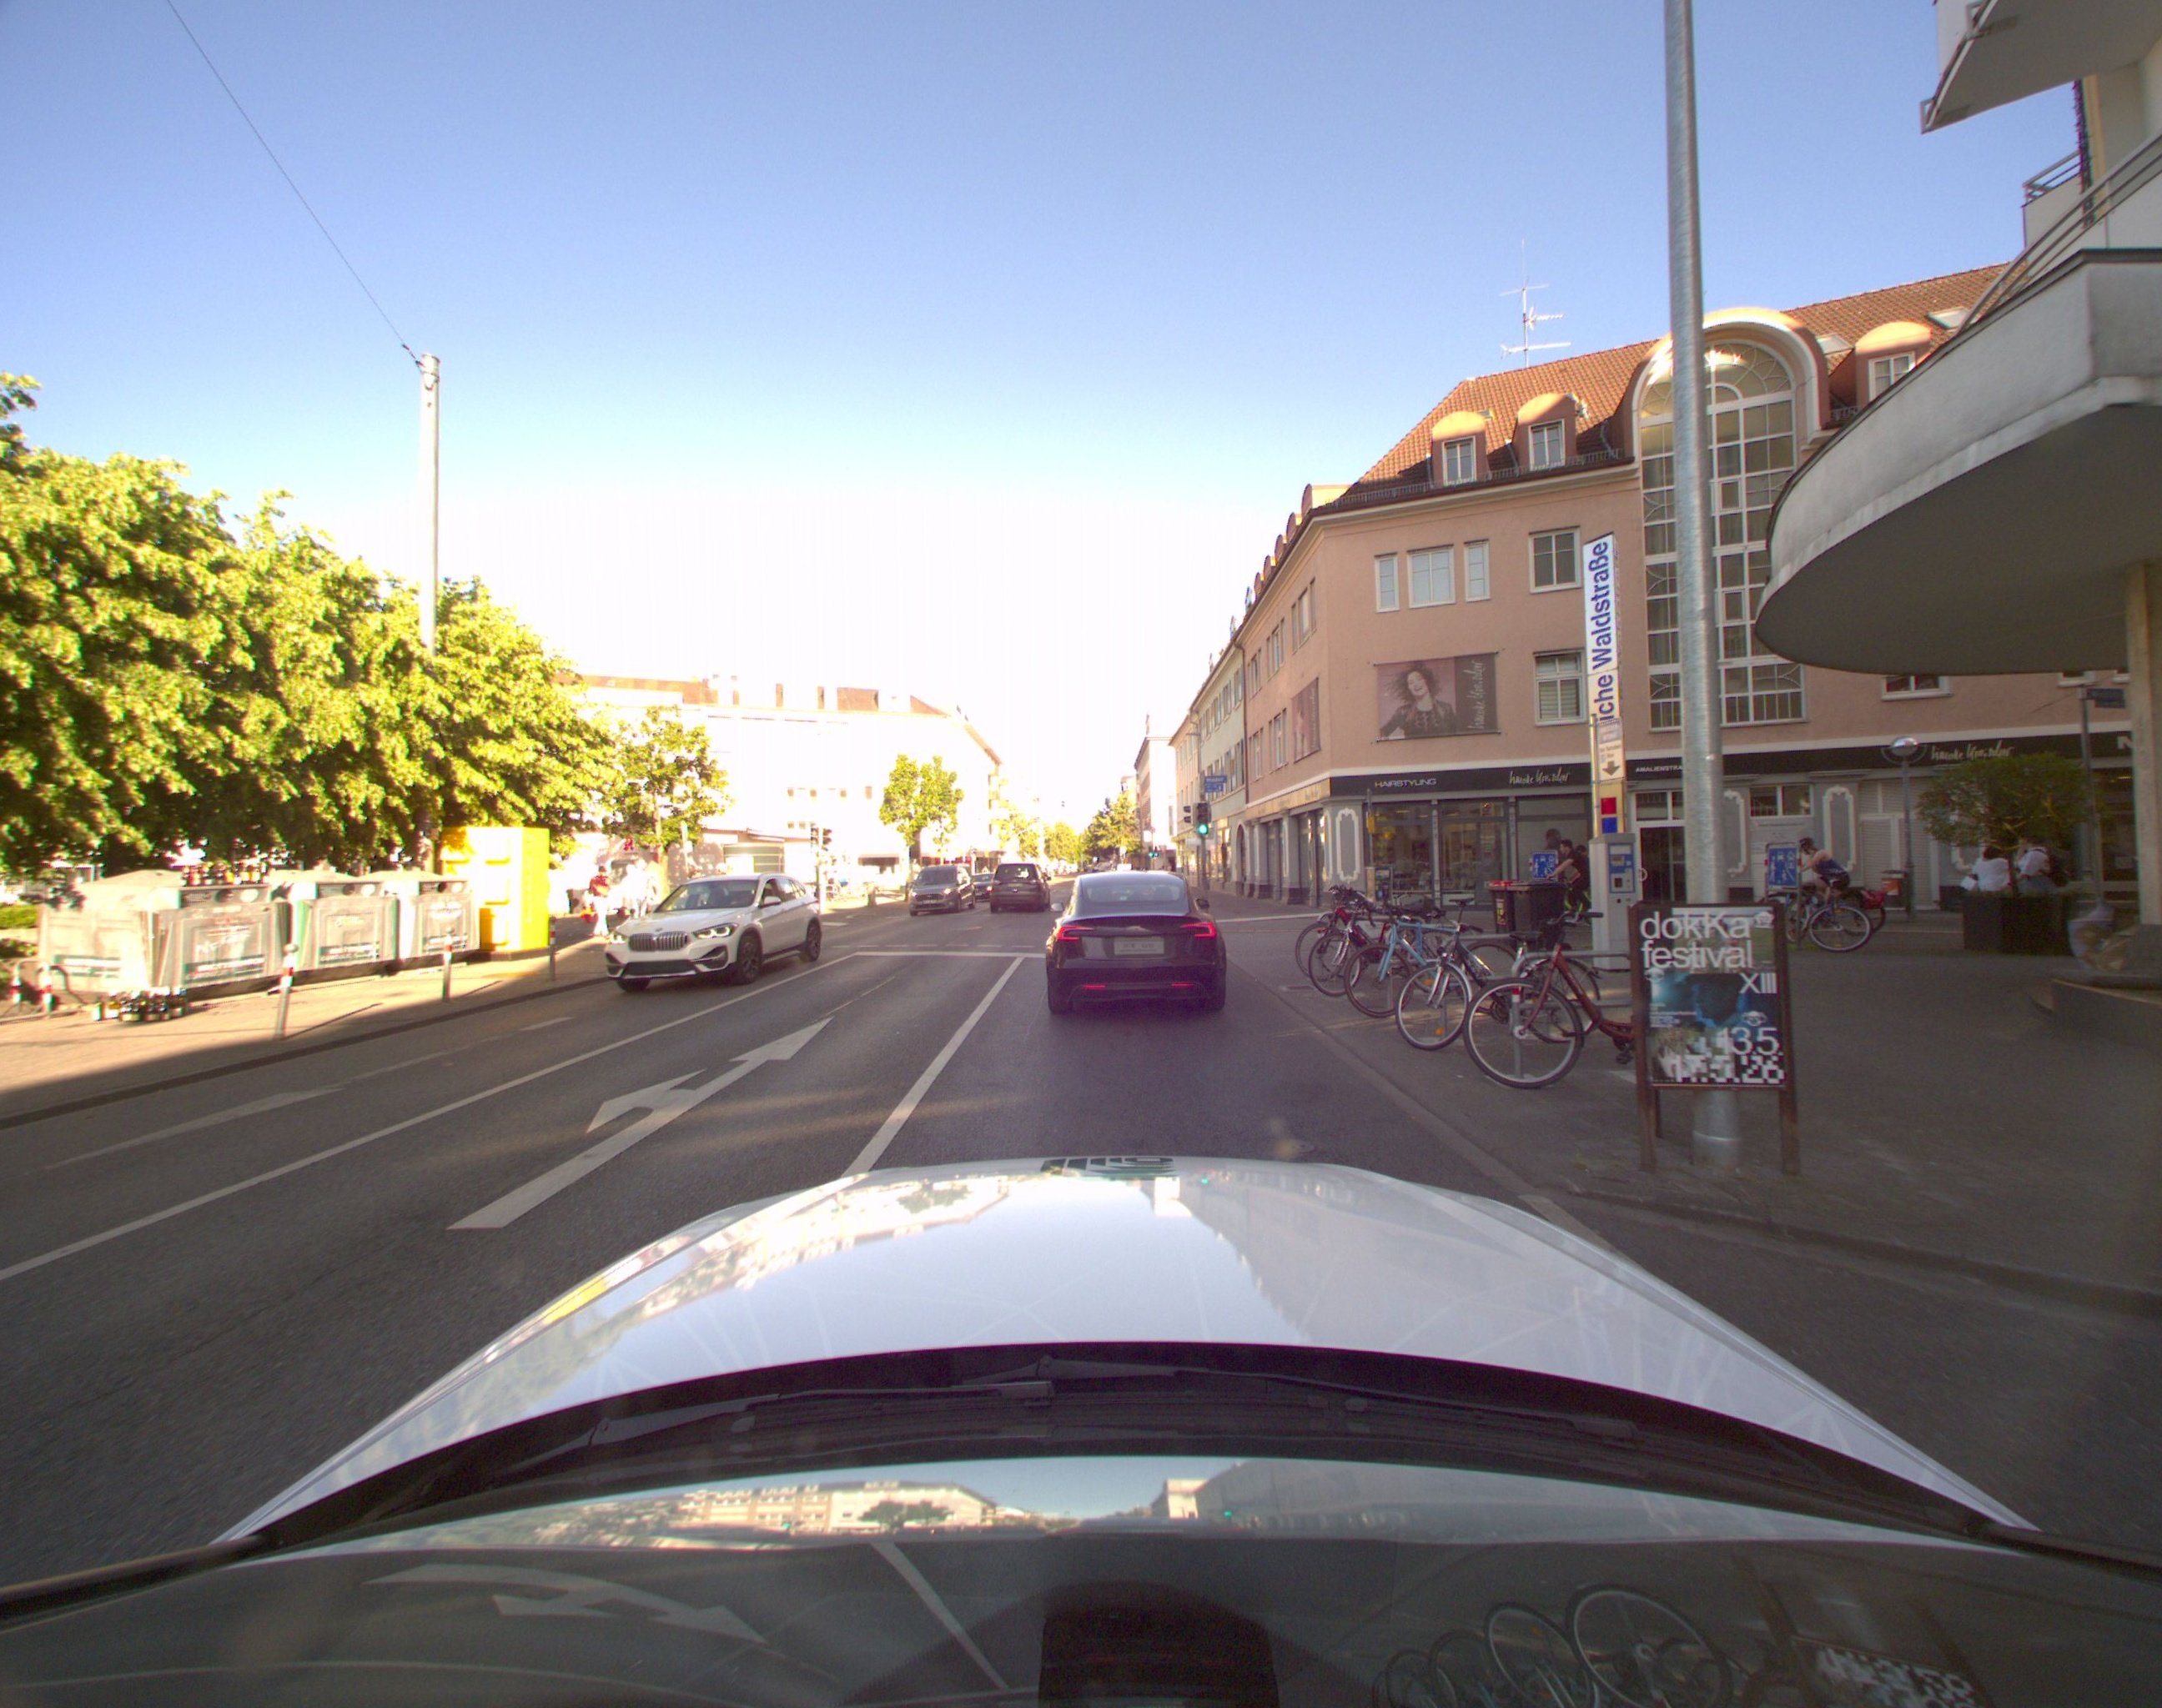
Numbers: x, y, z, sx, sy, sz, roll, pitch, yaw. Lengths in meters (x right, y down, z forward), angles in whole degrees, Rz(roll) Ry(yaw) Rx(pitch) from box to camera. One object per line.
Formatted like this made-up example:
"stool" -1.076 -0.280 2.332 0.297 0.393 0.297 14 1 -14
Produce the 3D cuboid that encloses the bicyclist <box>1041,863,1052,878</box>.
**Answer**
"bicyclist" -3.845 1.875 91.219 1.123 1.628 0.965 -1 -1 -2

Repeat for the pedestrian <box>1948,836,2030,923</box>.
"pedestrian" 16.713 0.469 15.012 0.741 1.552 0.702 -1 -1 19

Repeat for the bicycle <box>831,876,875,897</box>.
"bicycle" -13.431 1.909 48.008 2.319 1.156 0.841 -1 -1 -4

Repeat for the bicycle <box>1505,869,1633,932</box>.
"bicycle" 9.278 0.883 15.573 1.951 1.149 0.795 -2 -1 21

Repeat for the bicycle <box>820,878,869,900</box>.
"bicycle" -13.211 1.941 45.573 2.528 1.156 0.841 -1 -1 -4

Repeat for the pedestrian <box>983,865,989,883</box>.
"pedestrian" -10.258 2.159 87.958 0.573 2.014 0.827 0 -1 -2

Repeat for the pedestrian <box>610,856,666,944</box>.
"pedestrian" -10.104 1.020 18.587 0.823 1.955 0.712 0 -1 13

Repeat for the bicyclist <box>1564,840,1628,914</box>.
"bicyclist" 10.505 0.467 16.645 0.938 1.449 0.810 -1 -1 21

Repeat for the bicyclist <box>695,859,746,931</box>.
"bicyclist" -9.515 1.064 21.515 0.941 1.838 0.793 -1 -1 26

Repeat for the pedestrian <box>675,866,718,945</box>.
"pedestrian" -8.634 1.145 18.301 0.541 1.728 0.679 -2 -1 34

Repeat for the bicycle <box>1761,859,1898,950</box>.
"bicycle" 10.836 0.687 11.894 0.653 1.199 2.222 -1 -1 21

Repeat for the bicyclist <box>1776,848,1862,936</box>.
"bicyclist" 12.410 0.626 13.728 0.914 1.414 0.811 -2 -1 32

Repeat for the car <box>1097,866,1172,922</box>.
"car" 1.494 1.115 24.263 1.987 1.512 4.175 -1 -1 0

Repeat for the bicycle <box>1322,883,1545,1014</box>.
"bicycle" 3.339 0.889 7.866 1.788 1.124 0.783 -3 -1 7

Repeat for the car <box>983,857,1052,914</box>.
"car" -2.149 1.052 28.870 1.987 1.772 4.728 -2 -1 0

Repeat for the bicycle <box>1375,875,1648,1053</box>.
"bicycle" 3.361 0.847 6.514 1.713 1.268 0.792 -3 -1 7

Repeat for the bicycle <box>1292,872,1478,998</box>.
"bicycle" 3.322 0.875 9.047 1.738 1.267 0.782 -2 -1 4

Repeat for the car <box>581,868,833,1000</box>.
"car" -5.527 1.078 12.757 1.801 1.555 4.310 -5 -1 1

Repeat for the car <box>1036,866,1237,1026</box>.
"car" 0.569 0.891 9.559 1.841 1.455 4.001 -1 -1 2

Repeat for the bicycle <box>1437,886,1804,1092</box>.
"bicycle" 3.459 0.862 5.379 1.876 1.193 0.693 -3 0 7

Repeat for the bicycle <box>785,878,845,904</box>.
"bicycle" -12.517 1.731 38.343 2.497 1.156 0.842 -1 -1 0

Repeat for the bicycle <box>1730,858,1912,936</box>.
"bicycle" 12.382 0.702 13.735 2.151 1.222 0.685 -2 -1 33

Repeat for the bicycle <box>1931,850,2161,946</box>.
"bicycle" 14.056 0.631 11.919 2.118 1.316 0.588 -2 -1 31

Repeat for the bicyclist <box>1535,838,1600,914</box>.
"bicyclist" 9.275 0.418 15.571 0.915 1.414 0.810 -1 -1 20

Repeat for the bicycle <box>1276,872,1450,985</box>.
"bicycle" 3.435 0.899 10.075 1.851 1.258 0.834 -3 -1 7

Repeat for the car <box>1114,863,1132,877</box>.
"car" 4.942 1.915 96.060 1.986 1.629 4.001 -1 -1 2

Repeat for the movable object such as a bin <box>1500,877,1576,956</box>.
"movable object such as a bin" 6.554 0.880 11.710 0.749 1.092 0.628 0 -1 3

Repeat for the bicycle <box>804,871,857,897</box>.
"bicycle" -13.159 1.586 42.819 2.472 1.324 0.921 -1 -1 -4

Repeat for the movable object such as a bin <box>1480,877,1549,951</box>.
"movable object such as a bin" 6.561 0.892 12.347 0.730 1.092 0.628 0 -1 3

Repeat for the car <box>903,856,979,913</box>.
"car" -5.149 1.084 30.562 1.827 1.845 4.675 -5 -1 1

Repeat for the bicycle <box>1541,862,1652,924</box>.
"bicycle" 10.485 0.781 16.625 1.778 1.222 0.684 -1 -1 20

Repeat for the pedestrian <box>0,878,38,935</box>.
"pedestrian" -38.709 1.895 29.529 1.169 2.014 0.937 -1 -1 31

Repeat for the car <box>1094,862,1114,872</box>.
"car" 4.647 2.644 163.012 3.974 2.014 2.000 -1 -1 0

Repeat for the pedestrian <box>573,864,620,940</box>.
"pedestrian" -11.677 1.142 19.630 0.885 1.768 0.657 -2 -1 32

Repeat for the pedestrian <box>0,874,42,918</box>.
"pedestrian" -50.084 1.973 38.430 1.048 2.014 0.813 -1 -1 0

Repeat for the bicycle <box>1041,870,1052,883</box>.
"bicycle" -3.824 2.489 91.115 1.108 1.345 3.998 -1 -1 -1

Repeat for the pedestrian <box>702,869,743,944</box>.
"pedestrian" -8.253 1.189 18.746 0.676 1.663 0.625 -2 -2 37

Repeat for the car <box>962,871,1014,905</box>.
"car" -4.573 1.627 40.652 1.988 1.410 4.672 -4 -1 -1

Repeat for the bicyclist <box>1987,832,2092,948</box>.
"bicyclist" 13.961 0.513 11.891 0.826 1.625 0.577 -1 -2 31

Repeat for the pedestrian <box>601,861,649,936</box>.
"pedestrian" -11.370 1.084 20.292 0.835 1.827 0.746 -2 -1 35

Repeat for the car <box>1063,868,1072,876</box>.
"car" -3.009 4.089 182.678 1.988 1.637 3.998 -1 -1 -1

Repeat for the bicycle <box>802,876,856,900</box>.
"bicycle" -12.626 1.691 40.872 2.453 1.156 0.842 -1 -1 0
